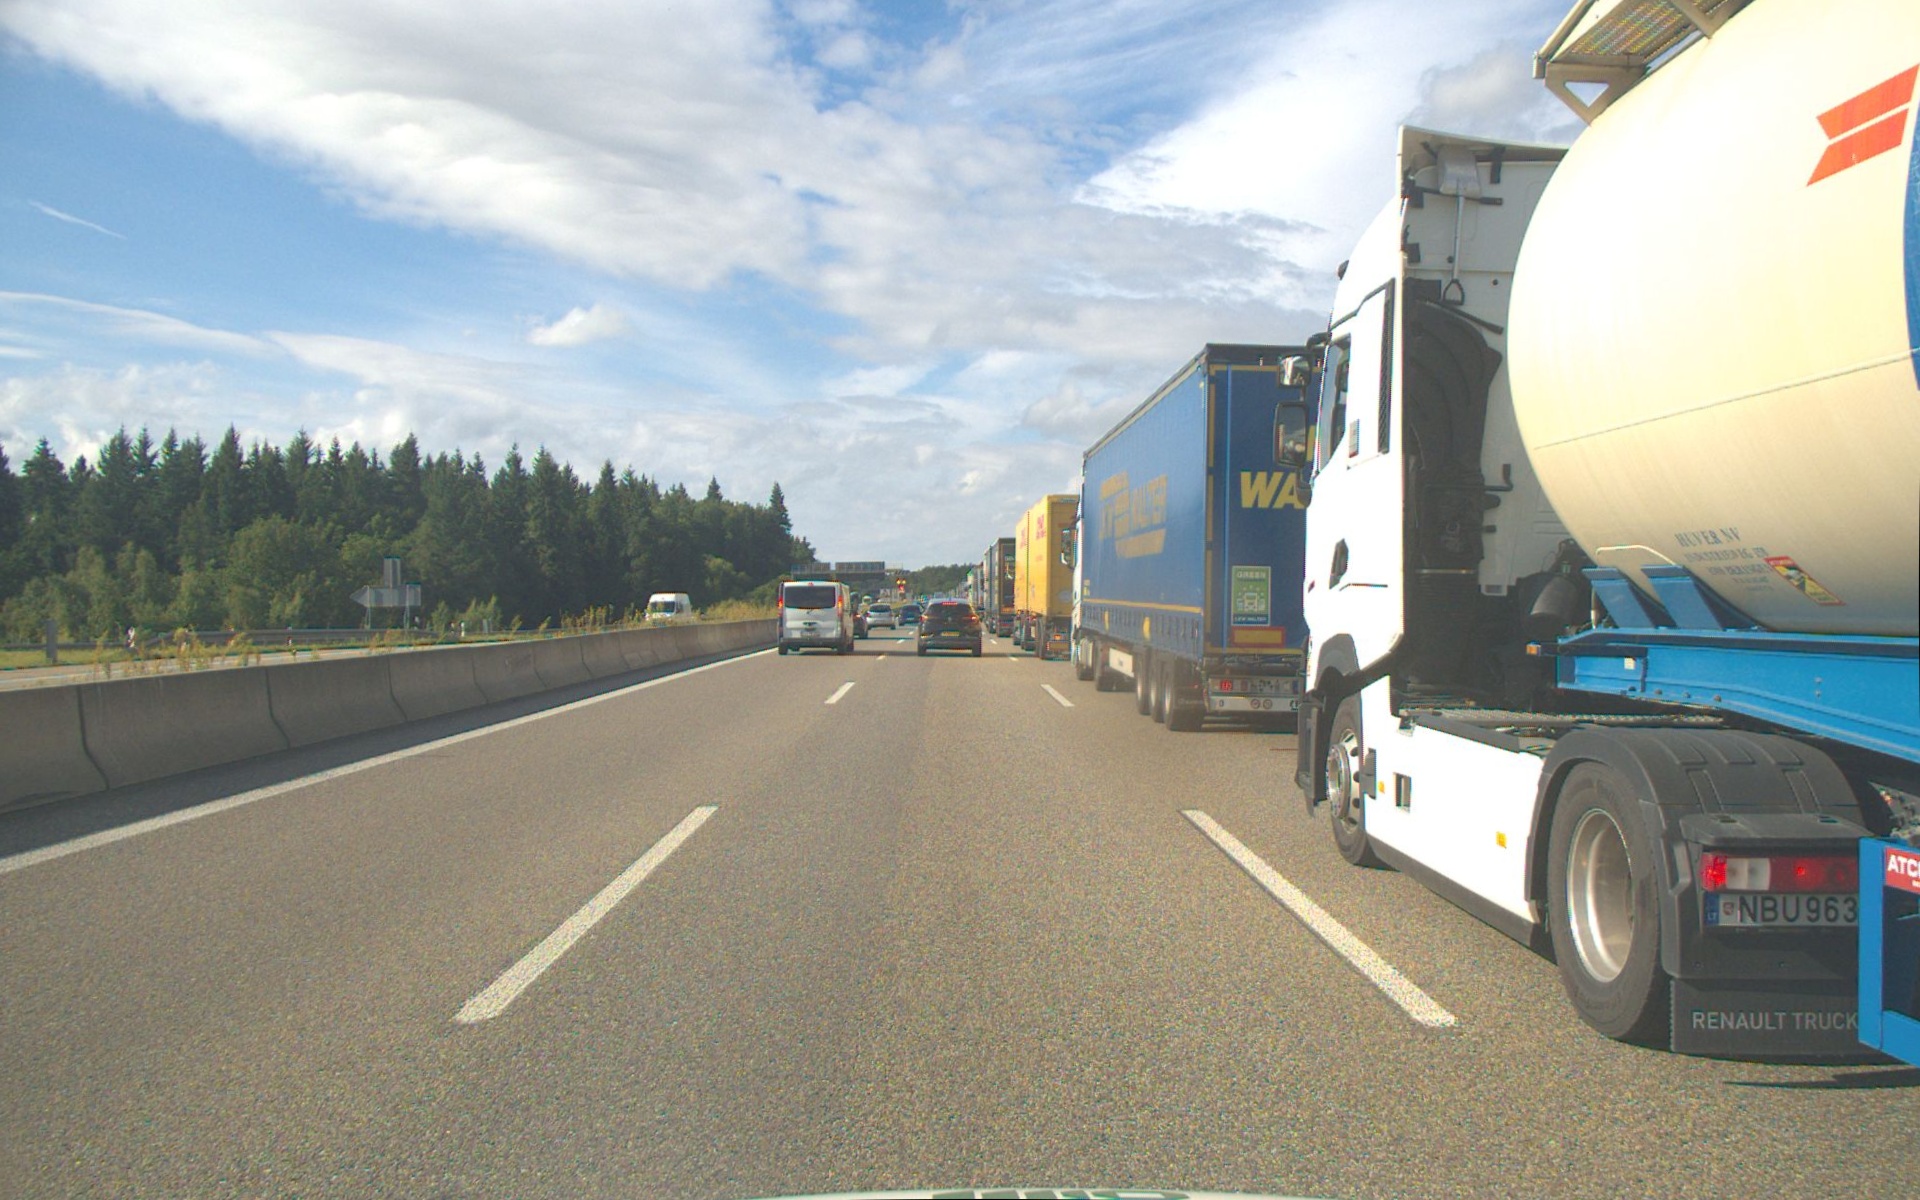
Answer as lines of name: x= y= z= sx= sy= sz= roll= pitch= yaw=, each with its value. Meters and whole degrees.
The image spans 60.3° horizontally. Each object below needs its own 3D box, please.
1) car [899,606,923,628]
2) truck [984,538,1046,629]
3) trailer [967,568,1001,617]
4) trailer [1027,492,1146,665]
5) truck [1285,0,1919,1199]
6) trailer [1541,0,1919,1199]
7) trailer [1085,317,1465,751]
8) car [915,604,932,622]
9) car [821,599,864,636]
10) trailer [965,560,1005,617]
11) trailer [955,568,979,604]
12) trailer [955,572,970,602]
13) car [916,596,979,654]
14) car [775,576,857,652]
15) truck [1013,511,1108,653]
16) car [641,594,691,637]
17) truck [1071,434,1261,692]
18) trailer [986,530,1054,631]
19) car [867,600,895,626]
car: x=-3.335 y=1.144 z=113.177 sx=1.549 sy=1.420 sz=3.207 roll=1 pitch=0 yaw=-1
truck: x=2.568 y=-0.740 z=80.414 sx=2.684 sy=4.109 sz=10.202 roll=1 pitch=0 yaw=0
trailer: x=2.101 y=-0.696 z=150.594 sx=2.648 sy=4.153 sz=12.943 roll=-3 pitch=0 yaw=0
trailer: x=3.229 y=-0.535 z=44.296 sx=2.363 sy=4.140 sz=8.925 roll=1 pitch=0 yaw=-1
truck: x=3.507 y=-0.481 z=7.574 sx=2.595 sy=3.994 sz=6.941 roll=1 pitch=0 yaw=0
trailer: x=3.541 y=-0.535 z=0.666 sx=2.592 sy=4.003 sz=11.172 roll=1 pitch=-1 yaw=0
trailer: x=3.583 y=-0.615 z=23.002 sx=2.588 sy=4.169 sz=13.979 roll=1 pitch=0 yaw=0
car: x=-2.961 y=1.043 z=135.454 sx=1.333 sy=1.420 sz=3.084 roll=1 pitch=0 yaw=-1
car: x=-4.668 y=0.705 z=66.052 sx=1.469 sy=1.420 sz=3.475 roll=1 pitch=0 yaw=-1
trailer: x=1.832 y=-0.794 z=125.271 sx=2.607 sy=3.936 sz=13.393 roll=-2 pitch=0 yaw=0
trailer: x=0.934 y=-1.756 z=214.161 sx=2.745 sy=4.318 sz=11.056 roll=-3 pitch=0 yaw=0
trailer: x=0.365 y=-1.854 z=248.301 sx=2.106 sy=4.333 sz=8.440 roll=-2 pitch=0 yaw=0
car: x=-0.341 y=0.670 z=45.979 sx=1.662 sy=1.509 sz=4.159 roll=1 pitch=0 yaw=-1
car: x=-4.021 y=0.376 z=46.928 sx=1.893 sy=2.013 sz=5.098 roll=1 pitch=0 yaw=0
truck: x=3.113 y=-0.542 z=53.586 sx=2.363 sy=4.140 sz=9.663 roll=1 pitch=0 yaw=-1
car: x=-19.075 y=0.988 z=107.550 sx=1.992 sy=2.624 sz=7.320 roll=1 pitch=0 yaw=-1
truck: x=3.569 y=-0.586 z=30.111 sx=2.594 sy=4.161 sz=6.491 roll=1 pitch=0 yaw=0
trailer: x=2.497 y=-0.801 z=70.938 sx=2.660 sy=4.030 sz=8.712 roll=1 pitch=0 yaw=1
car: x=-4.450 y=0.712 z=93.468 sx=1.469 sy=1.420 sz=3.475 roll=1 pitch=0 yaw=-1
